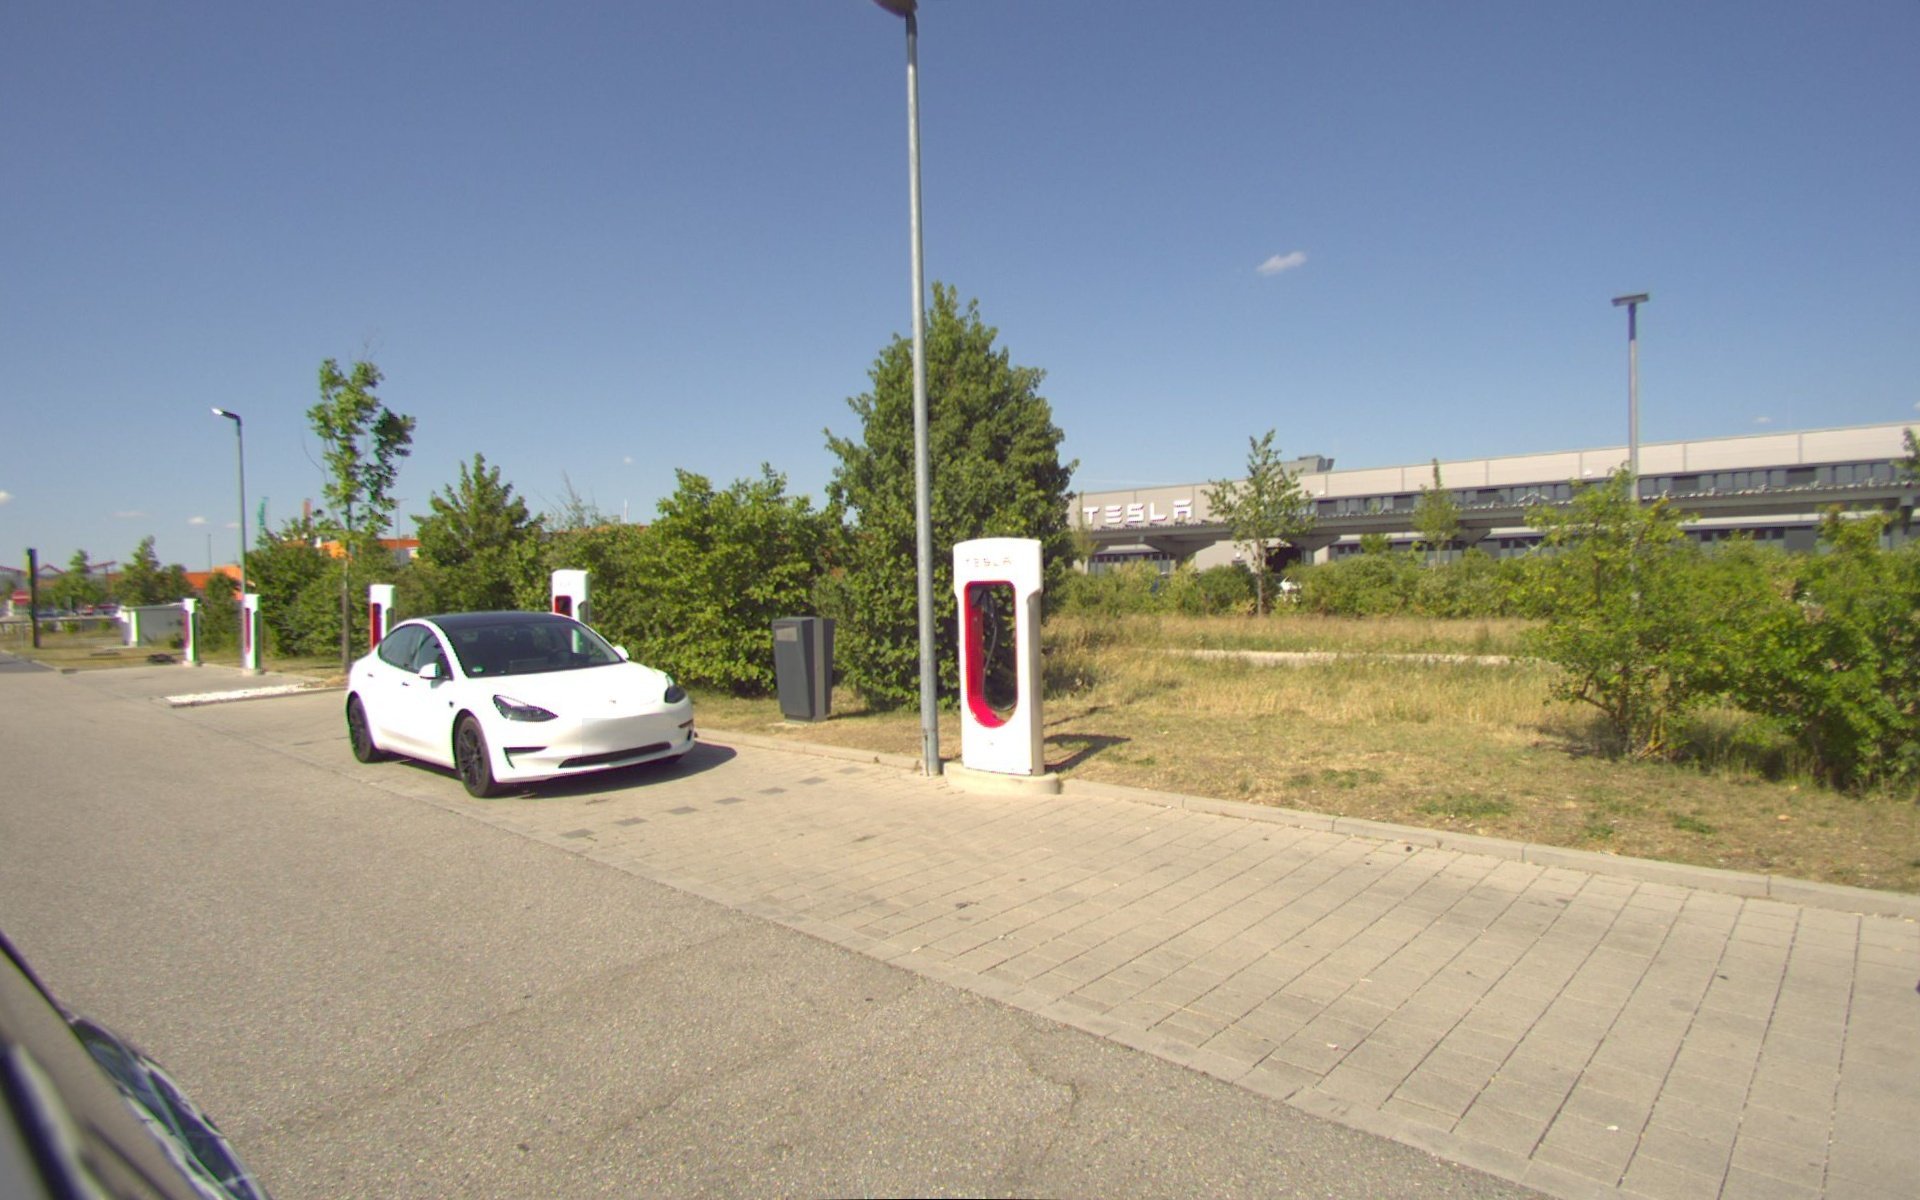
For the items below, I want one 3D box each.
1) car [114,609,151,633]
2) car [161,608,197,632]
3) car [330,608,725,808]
[{"bbox_3d":[-72.407,1.870,88.529,4.000,2.029,1.972,-2,0,43],"label":"car"},{"bbox_3d":[-70.447,1.818,91.252,4.000,2.029,1.972,-2,0,43],"label":"car"},{"bbox_3d":[-4.245,0.833,9.530,4.450,1.388,1.796,-2,1,44],"label":"car"}]
